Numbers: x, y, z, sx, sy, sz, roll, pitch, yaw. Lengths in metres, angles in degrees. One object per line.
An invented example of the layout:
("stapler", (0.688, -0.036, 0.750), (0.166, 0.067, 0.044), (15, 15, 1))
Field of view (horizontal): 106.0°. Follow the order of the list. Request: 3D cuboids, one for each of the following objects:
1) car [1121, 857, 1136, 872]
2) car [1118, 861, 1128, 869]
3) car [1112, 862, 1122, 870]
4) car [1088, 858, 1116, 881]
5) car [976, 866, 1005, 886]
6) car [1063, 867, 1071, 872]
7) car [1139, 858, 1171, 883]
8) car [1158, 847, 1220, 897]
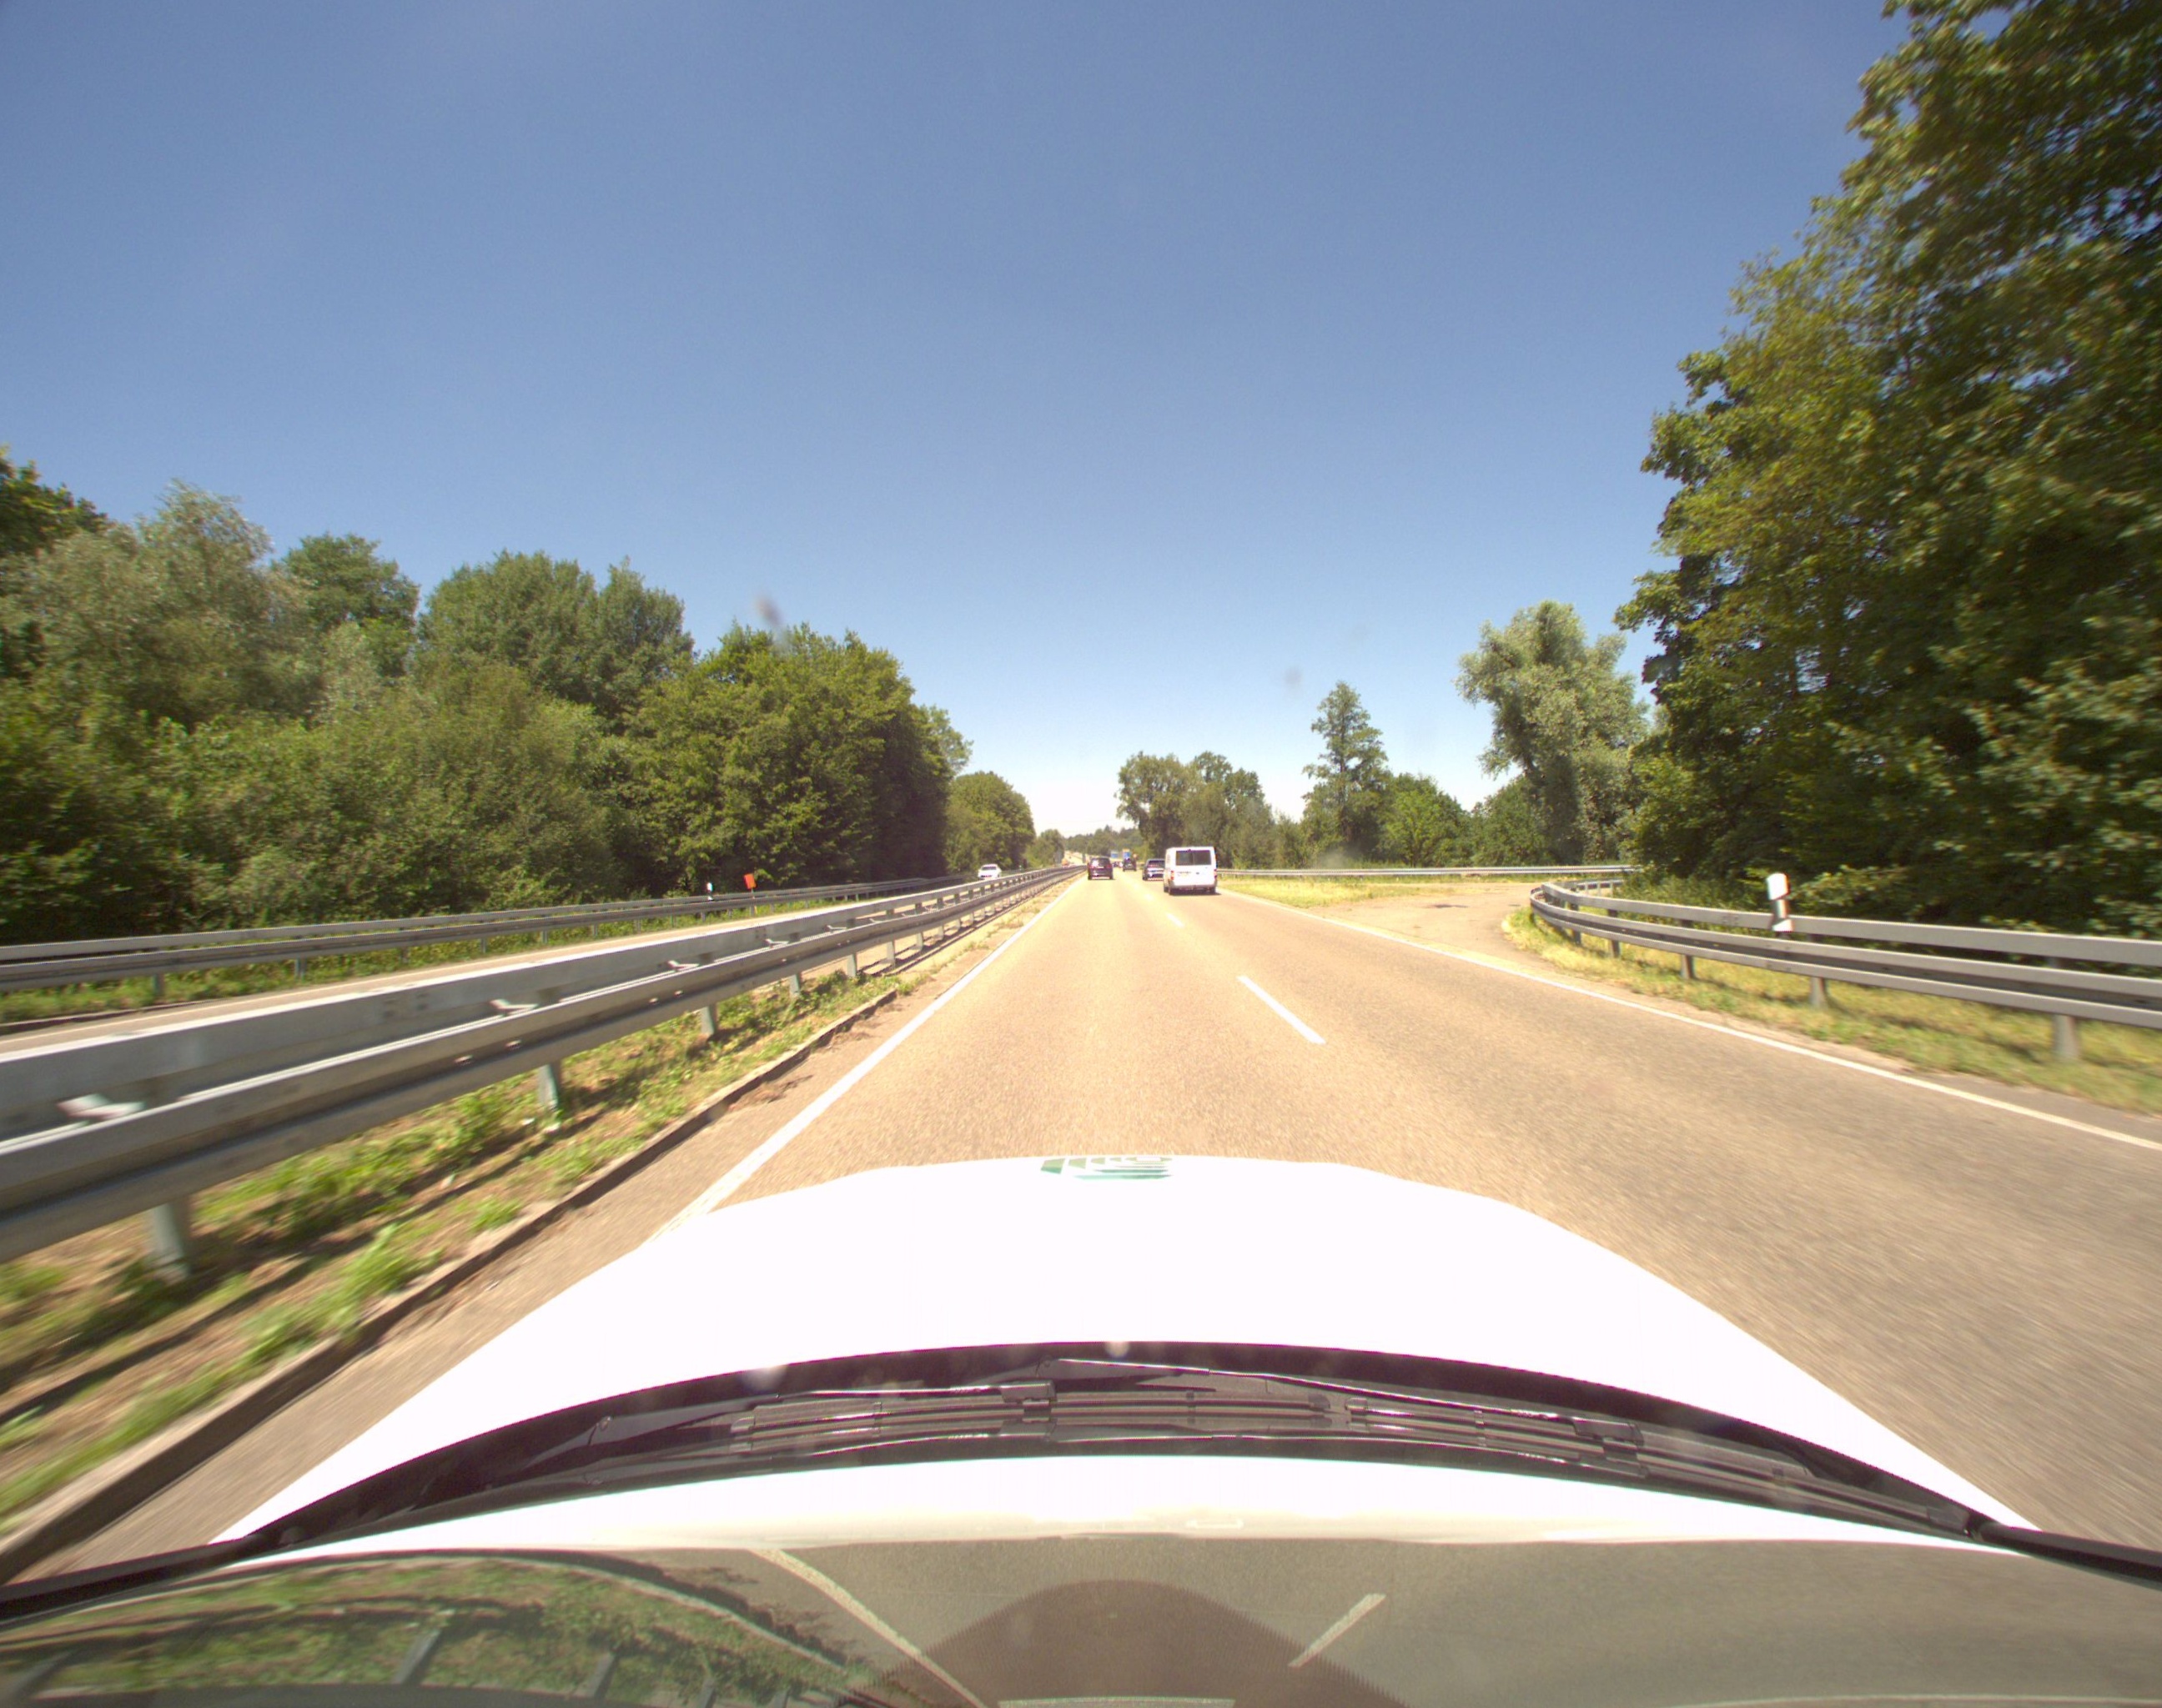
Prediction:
("car", (6.363, 1.422, 110.318), (1.773, 1.817, 4.214), (-3, 0, 1))
("car", (8.118, 2.199, 157.994), (1.773, 1.479, 4.314), (-2, 0, 0))
("car", (7.624, 2.574, 173.556), (1.813, 1.414, 4.000), (-3, 0, 1))
("car", (1.565, 1.164, 62.420), (1.987, 1.654, 3.999), (-2, 0, 0))
("car", (-8.087, 1.981, 72.938), (1.812, 1.599, 4.841), (-4, -1, 1))
("car", (-3.984, 4.341, 231.907), (1.770, 1.419, 4.576), (-3, -1, 1))
("car", (5.084, 1.117, 56.352), (1.779, 1.553, 4.019), (-2, 0, 0))
("car", (4.580, 0.780, 35.356), (1.999, 1.989, 5.033), (-2, -1, 0))
